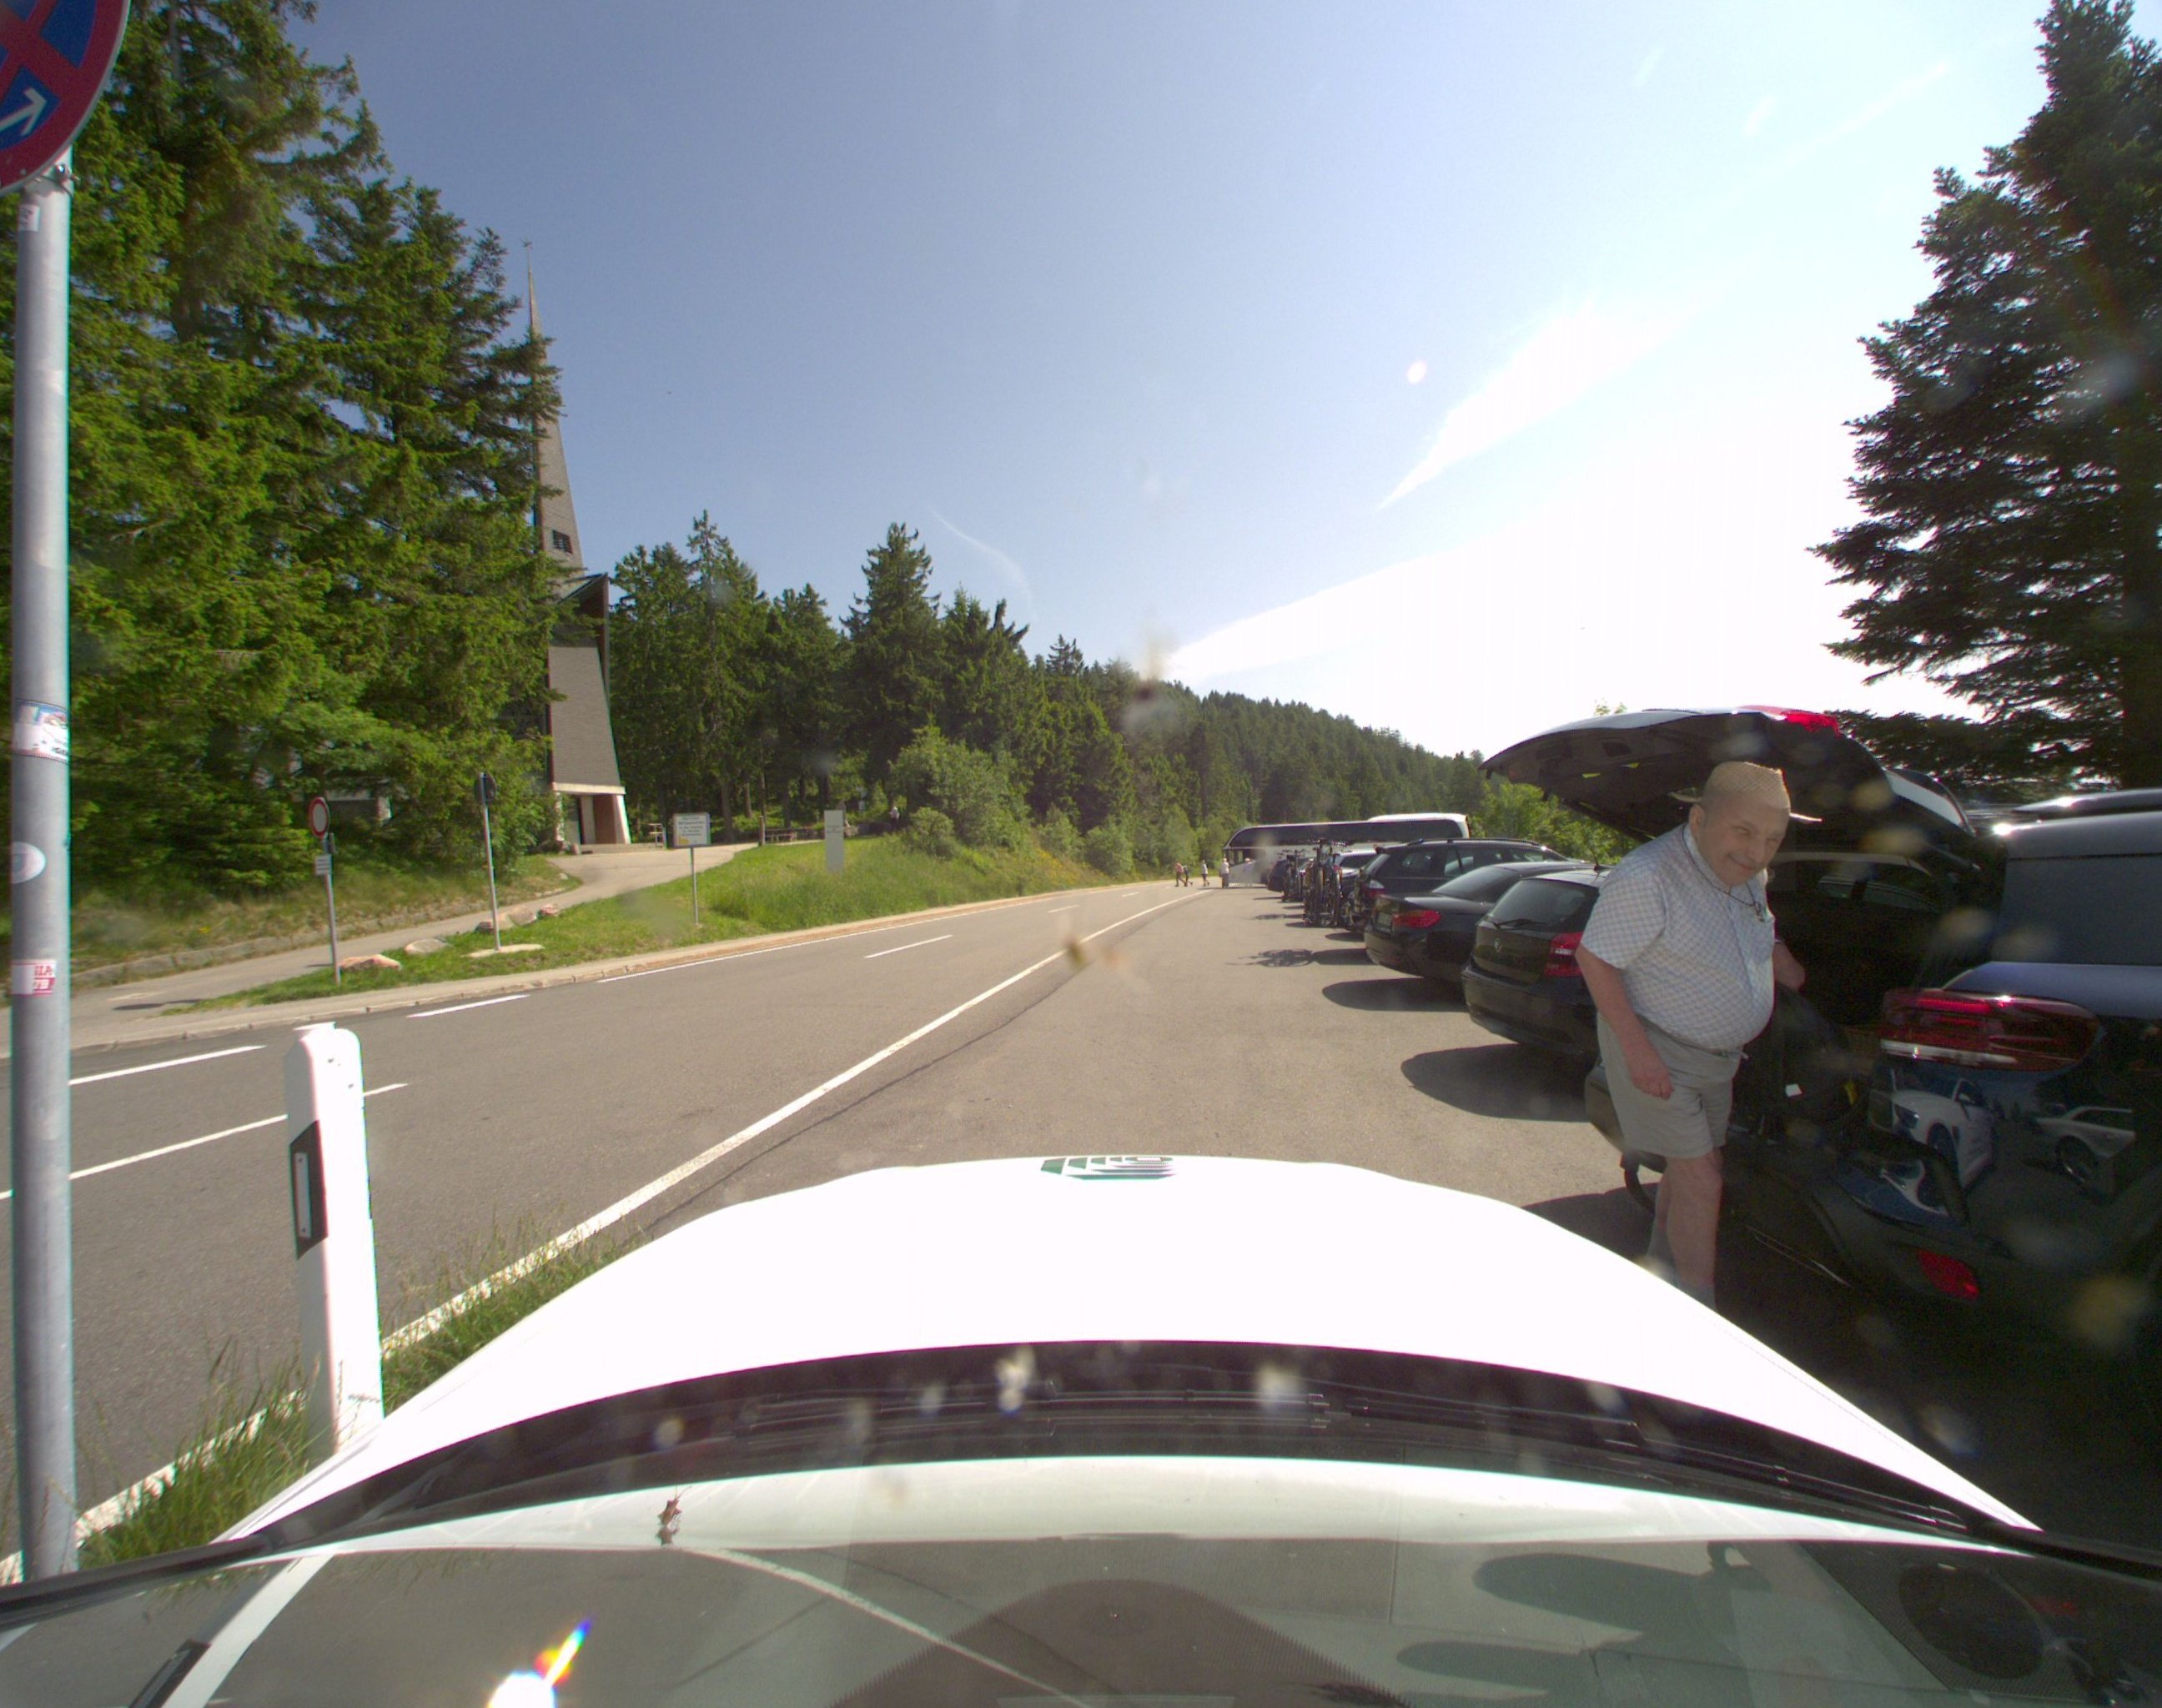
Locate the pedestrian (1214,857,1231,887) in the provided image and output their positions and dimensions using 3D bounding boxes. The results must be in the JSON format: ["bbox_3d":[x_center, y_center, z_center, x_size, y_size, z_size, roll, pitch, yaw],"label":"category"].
[{"bbox_3d":[7.724,1.005,44.472,0.764,1.585,0.776,-3,-1,17],"label":"pedestrian"}]

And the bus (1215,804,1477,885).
[{"bbox_3d":[14.192,-0.388,44.493,12.981,3.532,3.059,-3,-1,21],"label":"bus"}]

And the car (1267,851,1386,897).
[{"bbox_3d":[8.947,0.719,29.942,3.961,1.449,1.867,-3,-1,11],"label":"car"}]

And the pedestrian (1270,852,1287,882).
[{"bbox_3d":[10.664,0.711,43.915,0.763,1.585,0.776,-3,-1,19],"label":"pedestrian"}]

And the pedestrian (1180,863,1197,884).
[{"bbox_3d":[6.723,1.198,50.969,0.735,1.279,0.779,-3,-1,-17],"label":"pedestrian"}]

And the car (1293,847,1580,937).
[{"bbox_3d":[5.955,0.640,14.158,4.217,1.269,1.843,-3,-1,11],"label":"car"}]

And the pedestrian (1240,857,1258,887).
[{"bbox_3d":[9.085,0.971,43.983,0.764,1.585,0.776,-3,-1,17],"label":"pedestrian"}]

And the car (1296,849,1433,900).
[{"bbox_3d":[9.143,0.664,26.538,3.961,1.398,1.625,-3,-1,11],"label":"car"}]

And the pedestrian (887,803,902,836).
[{"bbox_3d":[-10.893,-2.003,47.527,0.683,1.878,0.538,-3,-1,-23],"label":"pedestrian"}]

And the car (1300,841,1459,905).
[{"bbox_3d":[8.402,0.532,23.230,3.961,1.554,1.665,-3,-1,11],"label":"car"}]

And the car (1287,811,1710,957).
[{"bbox_3d":[5.488,0.432,11.457,4.915,1.695,1.952,-3,-1,13],"label":"car"}]

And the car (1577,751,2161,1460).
[{"bbox_3d":[4.357,0.614,2.657,4.323,1.626,1.872,1,-1,5],"label":"car"}]

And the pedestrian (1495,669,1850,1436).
[{"bbox_3d":[1.809,0.474,2.497,0.762,1.870,0.728,-3,2,-41],"label":"pedestrian"}]

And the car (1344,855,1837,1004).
[{"bbox_3d":[5.044,0.721,8.545,4.062,1.376,1.704,0,-1,4],"label":"car"}]

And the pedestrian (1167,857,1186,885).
[{"bbox_3d":[6.062,1.085,51.682,0.855,1.683,0.865,-3,-1,-15],"label":"pedestrian"}]

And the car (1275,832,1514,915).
[{"bbox_3d":[7.286,0.468,19.490,5.002,1.651,2.054,-3,-1,11],"label":"car"}]

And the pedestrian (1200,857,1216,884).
[{"bbox_3d":[7.854,1.027,50.486,0.849,1.585,0.819,-3,-1,5],"label":"pedestrian"}]

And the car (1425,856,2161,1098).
[{"bbox_3d":[4.722,0.718,5.524,4.066,1.376,1.703,0,-1,1],"label":"car"}]

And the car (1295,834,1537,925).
[{"bbox_3d":[6.634,0.518,16.597,4.217,1.554,1.843,-3,-1,11],"label":"car"}]
